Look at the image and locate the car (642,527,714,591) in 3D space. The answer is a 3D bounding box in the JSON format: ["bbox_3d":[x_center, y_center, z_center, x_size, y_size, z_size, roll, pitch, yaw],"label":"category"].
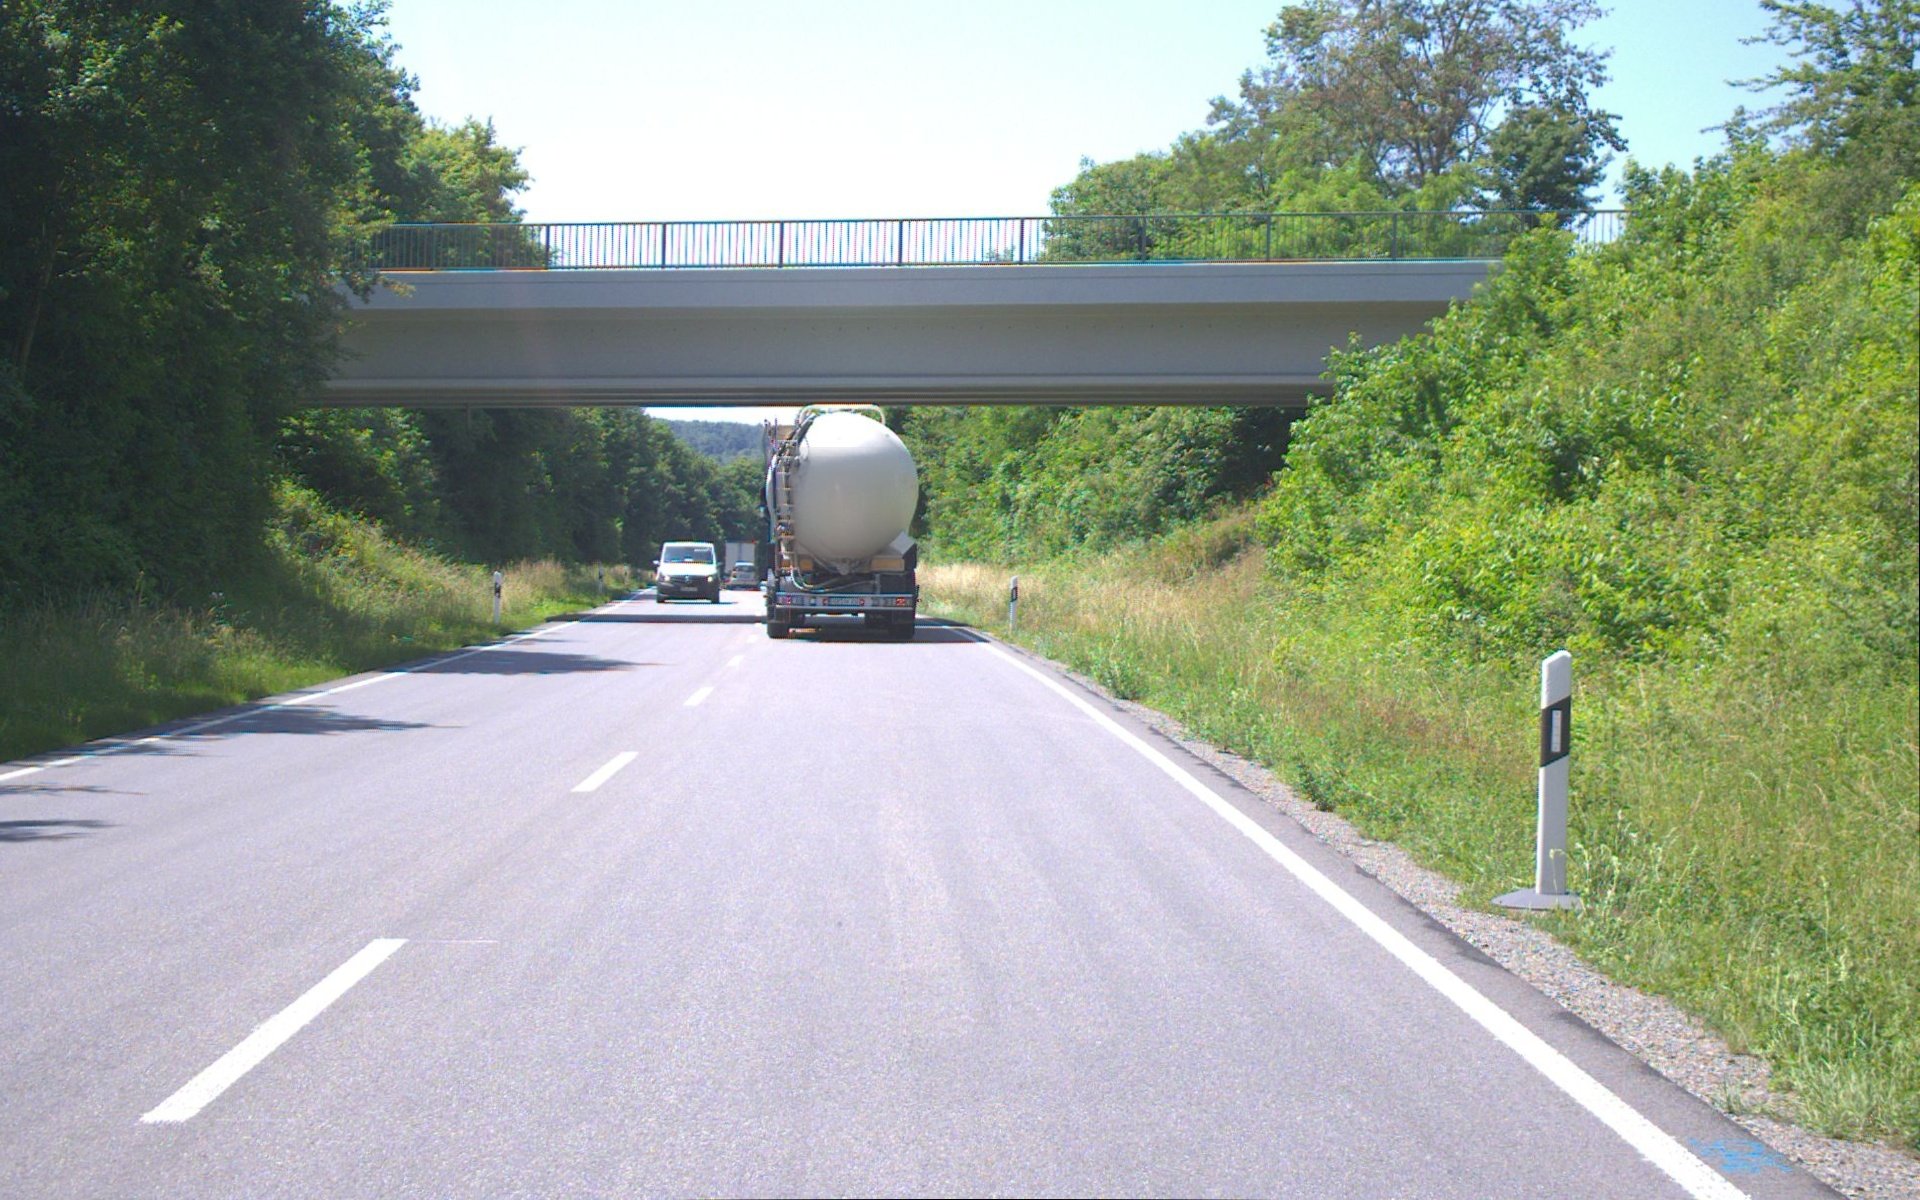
[{"bbox_3d":[-8.597,-1.272,105.185,1.931,1.899,5.328,1,1,-2],"label":"car"}]

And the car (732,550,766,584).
[{"bbox_3d":[-12.844,-1.999,209.245,1.993,2.007,4.001,1,1,-5],"label":"car"}]

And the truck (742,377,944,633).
[{"bbox_3d":[-2.119,-1.518,63.602,3.049,3.985,15.637,3,0,-2],"label":"truck"}]
